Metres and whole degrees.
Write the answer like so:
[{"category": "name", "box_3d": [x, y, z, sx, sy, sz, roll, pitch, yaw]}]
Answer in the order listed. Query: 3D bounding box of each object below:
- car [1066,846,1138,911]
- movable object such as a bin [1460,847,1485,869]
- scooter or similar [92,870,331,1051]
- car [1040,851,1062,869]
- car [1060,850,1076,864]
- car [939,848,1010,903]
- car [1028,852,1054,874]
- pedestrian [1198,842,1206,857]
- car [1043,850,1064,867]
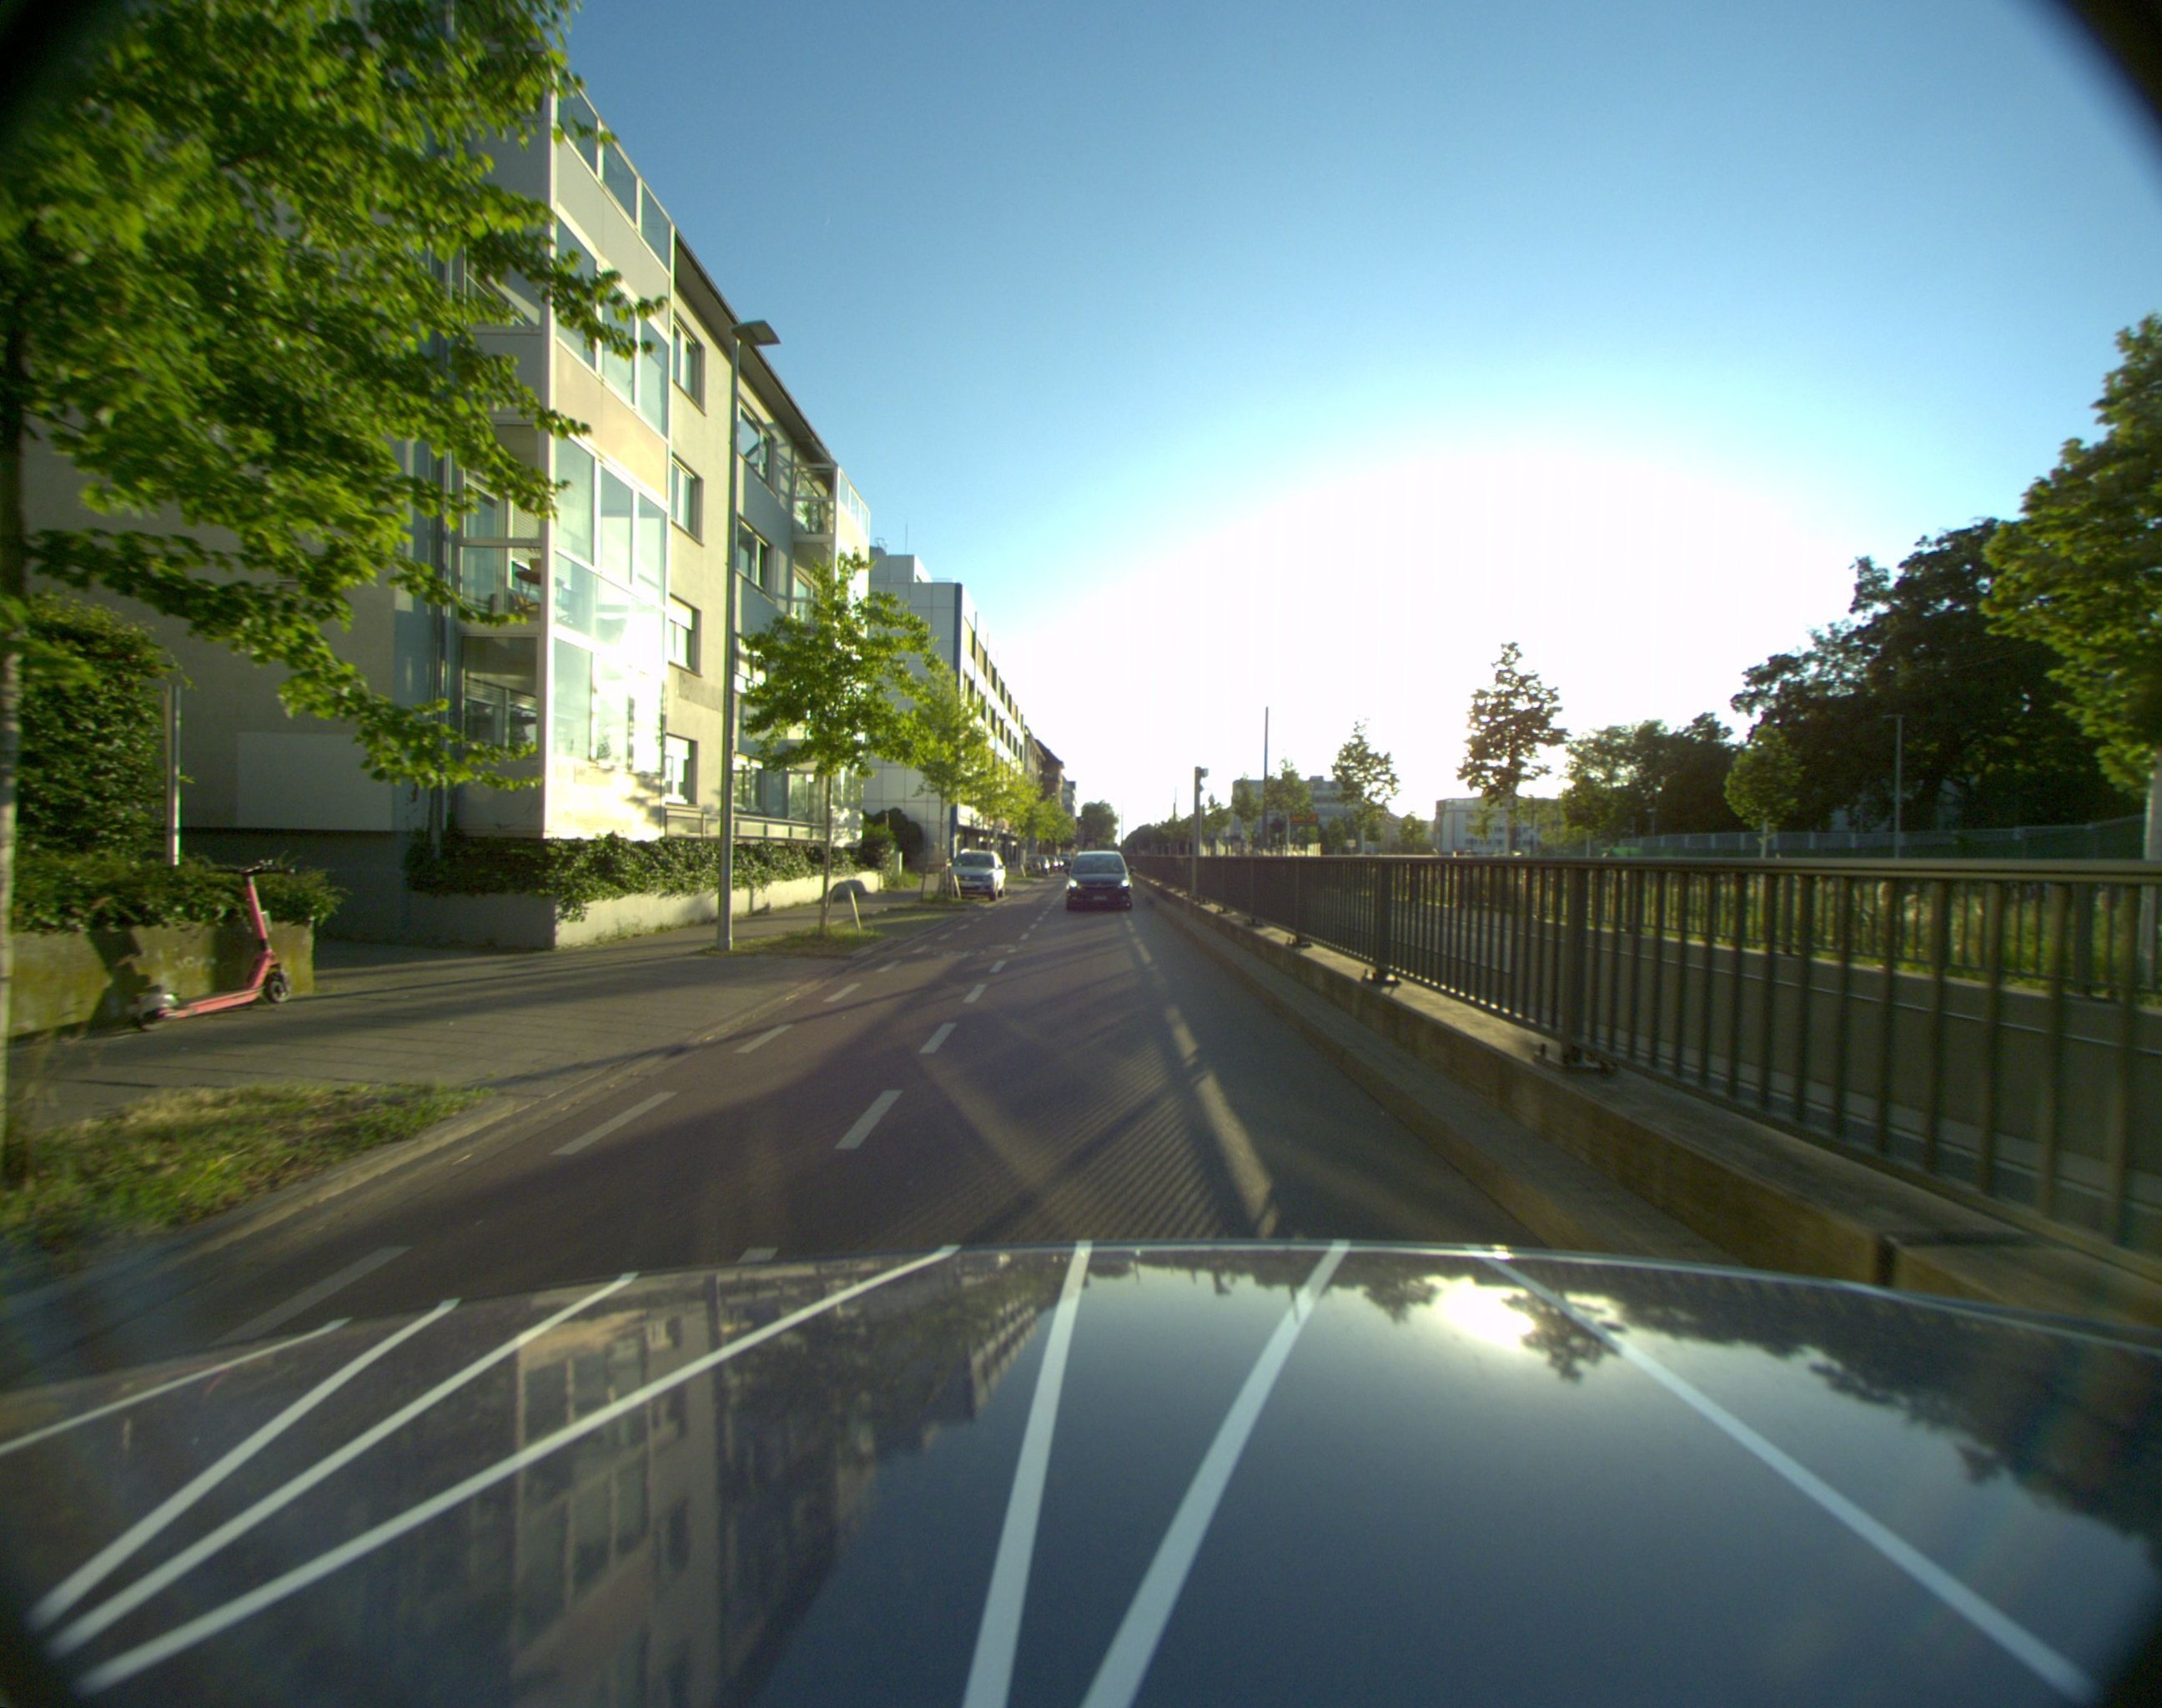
[{"category": "car", "box_3d": [0.545, 0.601, 21.353, 1.800, 1.609, 4.386, -1, 1, 0]}, {"category": "movable object such as a bin", "box_3d": [50.427, 0.514, 98.043, 1.996, 2.690, 4.004, 1, 1, 14]}, {"category": "scooter or similar", "box_3d": [-6.803, 0.773, 6.032, 0.492, 1.251, 1.208, -1, 1, -2]}, {"category": "car", "box_3d": [-2.592, 0.531, 66.202, 1.687, 1.446, 4.129, 2, 0, 0]}, {"category": "car", "box_3d": [-1.638, 0.366, 98.100, 1.761, 1.644, 4.529, 3, 0, 1]}, {"category": "car", "box_3d": [-3.627, 0.696, 26.669, 1.859, 1.697, 4.253, 2, 0, -1]}, {"category": "car", "box_3d": [-2.908, 0.651, 55.850, 1.824, 1.446, 4.127, 2, 0, -3]}, {"category": "pedestrian", "box_3d": [13.510, -0.522, 85.007, 0.636, 1.719, 0.635, 0, 1, -11]}, {"category": "car", "box_3d": [-2.762, 0.419, 76.576, 1.824, 1.557, 4.809, 4, 0, -1]}]
